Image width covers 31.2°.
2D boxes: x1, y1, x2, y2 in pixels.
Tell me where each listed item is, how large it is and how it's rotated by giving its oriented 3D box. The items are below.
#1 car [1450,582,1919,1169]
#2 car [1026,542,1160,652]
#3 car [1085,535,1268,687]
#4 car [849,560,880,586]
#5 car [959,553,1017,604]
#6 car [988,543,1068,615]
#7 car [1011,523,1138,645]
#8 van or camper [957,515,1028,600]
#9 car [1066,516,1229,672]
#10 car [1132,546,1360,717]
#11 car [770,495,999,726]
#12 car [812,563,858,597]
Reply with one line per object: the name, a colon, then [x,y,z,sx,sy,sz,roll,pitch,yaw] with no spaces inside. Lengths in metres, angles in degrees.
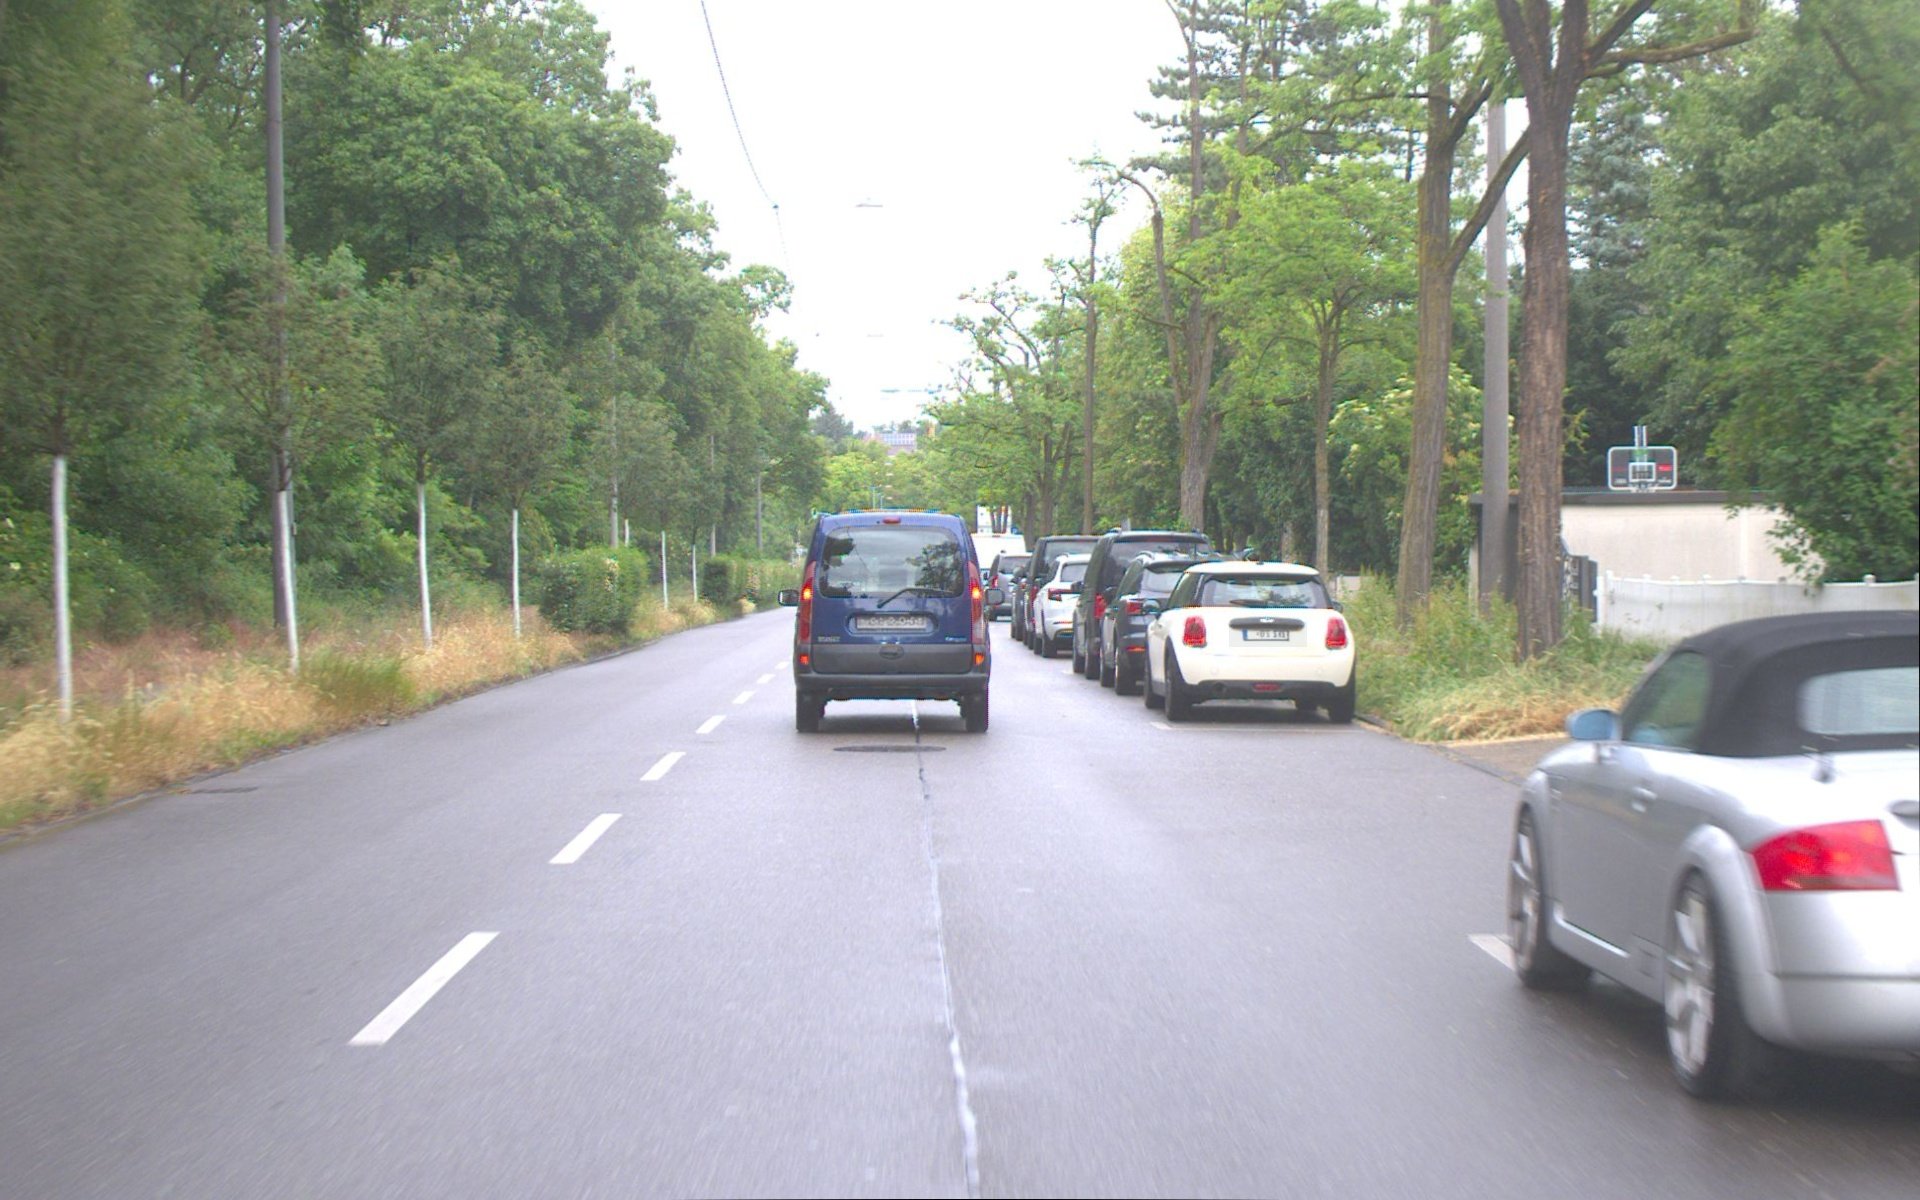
car: [2.766,0.688,10.574,1.782,1.390,4.001,1,1,-2]
car: [2.043,-0.083,53.998,1.804,1.607,4.286,1,1,-1]
car: [2.332,0.076,37.898,1.678,1.550,4.076,1,1,-1]
car: [-5.715,-1.618,206.026,1.783,1.474,3.968,-1,-1,-1]
car: [0.863,-0.671,103.505,1.626,1.459,3.807,1,1,2]
car: [1.773,-0.581,90.750,1.814,1.807,4.283,1,1,-3]
car: [1.961,-0.320,60.401,1.993,2.007,4.888,1,1,0]
van or camper: [1.029,-1.401,111.302,2.078,2.641,5.346,1,1,-1]
car: [2.323,-0.111,43.410,1.730,1.841,4.230,1,1,-1]
car: [2.623,0.253,32.238,1.738,1.459,3.725,1,1,-1]
car: [-0.698,0.045,29.343,1.766,1.824,3.542,1,1,-4]
car: [-5.517,-0.884,152.207,1.860,1.475,4.156,-1,0,0]
